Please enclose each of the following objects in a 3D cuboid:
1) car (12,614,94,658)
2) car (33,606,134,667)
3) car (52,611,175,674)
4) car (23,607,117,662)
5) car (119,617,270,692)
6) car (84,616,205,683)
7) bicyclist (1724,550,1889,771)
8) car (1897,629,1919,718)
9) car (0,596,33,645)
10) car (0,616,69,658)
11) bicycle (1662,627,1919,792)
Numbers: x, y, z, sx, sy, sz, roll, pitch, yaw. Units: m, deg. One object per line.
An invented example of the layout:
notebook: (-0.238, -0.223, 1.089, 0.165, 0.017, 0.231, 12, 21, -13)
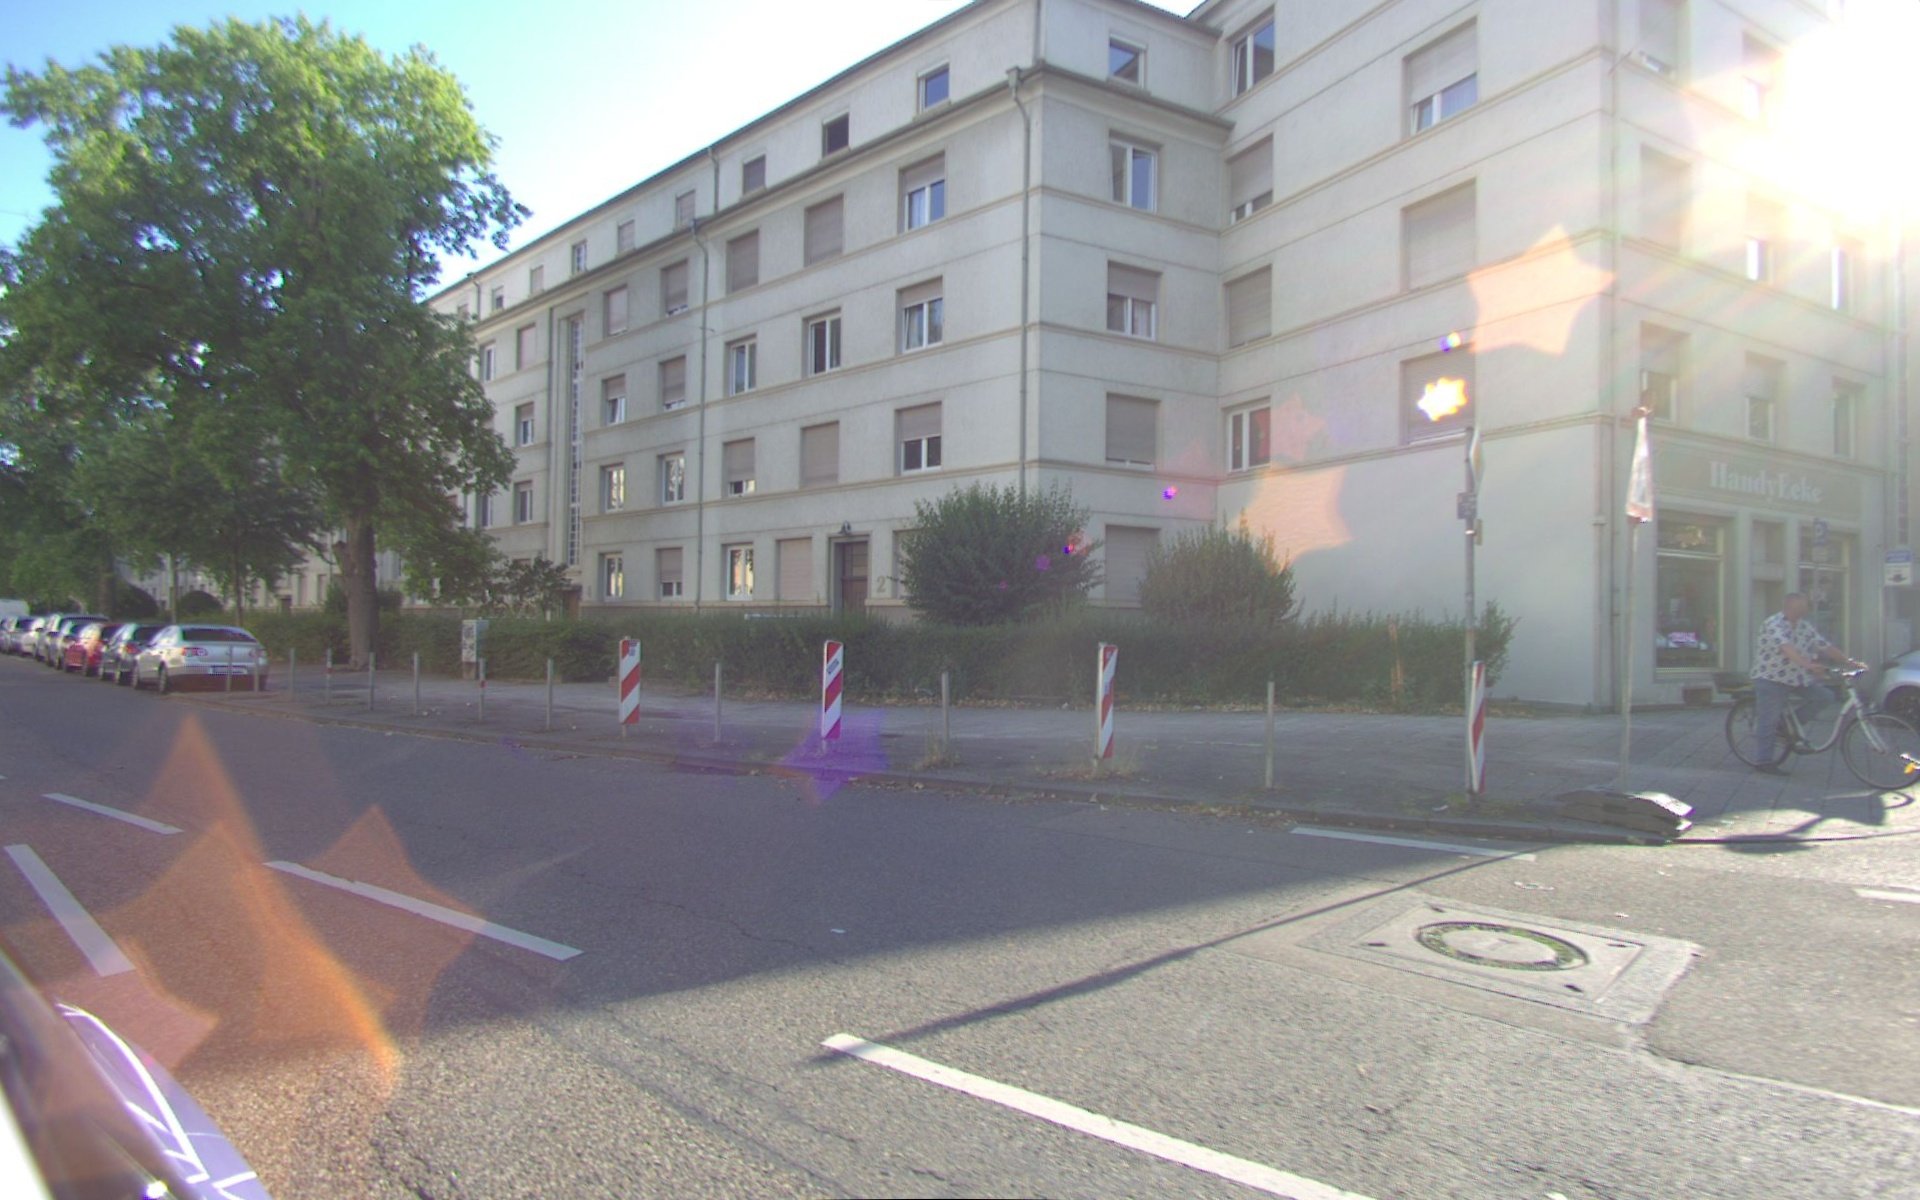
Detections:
car: (-35.269, 1.423, 39.331, 4.099, 1.570, 1.851, -2, -5, 42)
car: (-27.528, 1.085, 31.738, 4.496, 1.570, 1.851, 3, 2, 42)
car: (-23.655, 1.129, 28.249, 3.994, 1.570, 1.853, 0, 0, 38)
car: (-31.084, 1.132, 35.296, 4.973, 1.690, 1.896, 0, 1, 42)
car: (-16.598, 1.095, 21.857, 4.710, 1.362, 1.750, 0, 0, 42)
car: (-20.140, 1.147, 24.935, 4.128, 1.450, 1.685, 0, 0, 42)
bicyclist: (8.177, 0.550, 9.804, 0.961, 2.029, 0.799, 0, 0, -13)
car: (16.089, 1.164, 14.154, 1.626, 1.346, 4.049, 3, -1, -26)
car: (-51.367, 1.059, 53.869, 6.163, 2.463, 2.333, 0, 2, 42)
car: (-39.200, 1.544, 42.595, 5.055, 1.570, 1.851, -1, -7, 42)
bicycle: (8.136, 0.935, 9.510, 0.994, 1.274, 2.490, 0, 1, -14)
